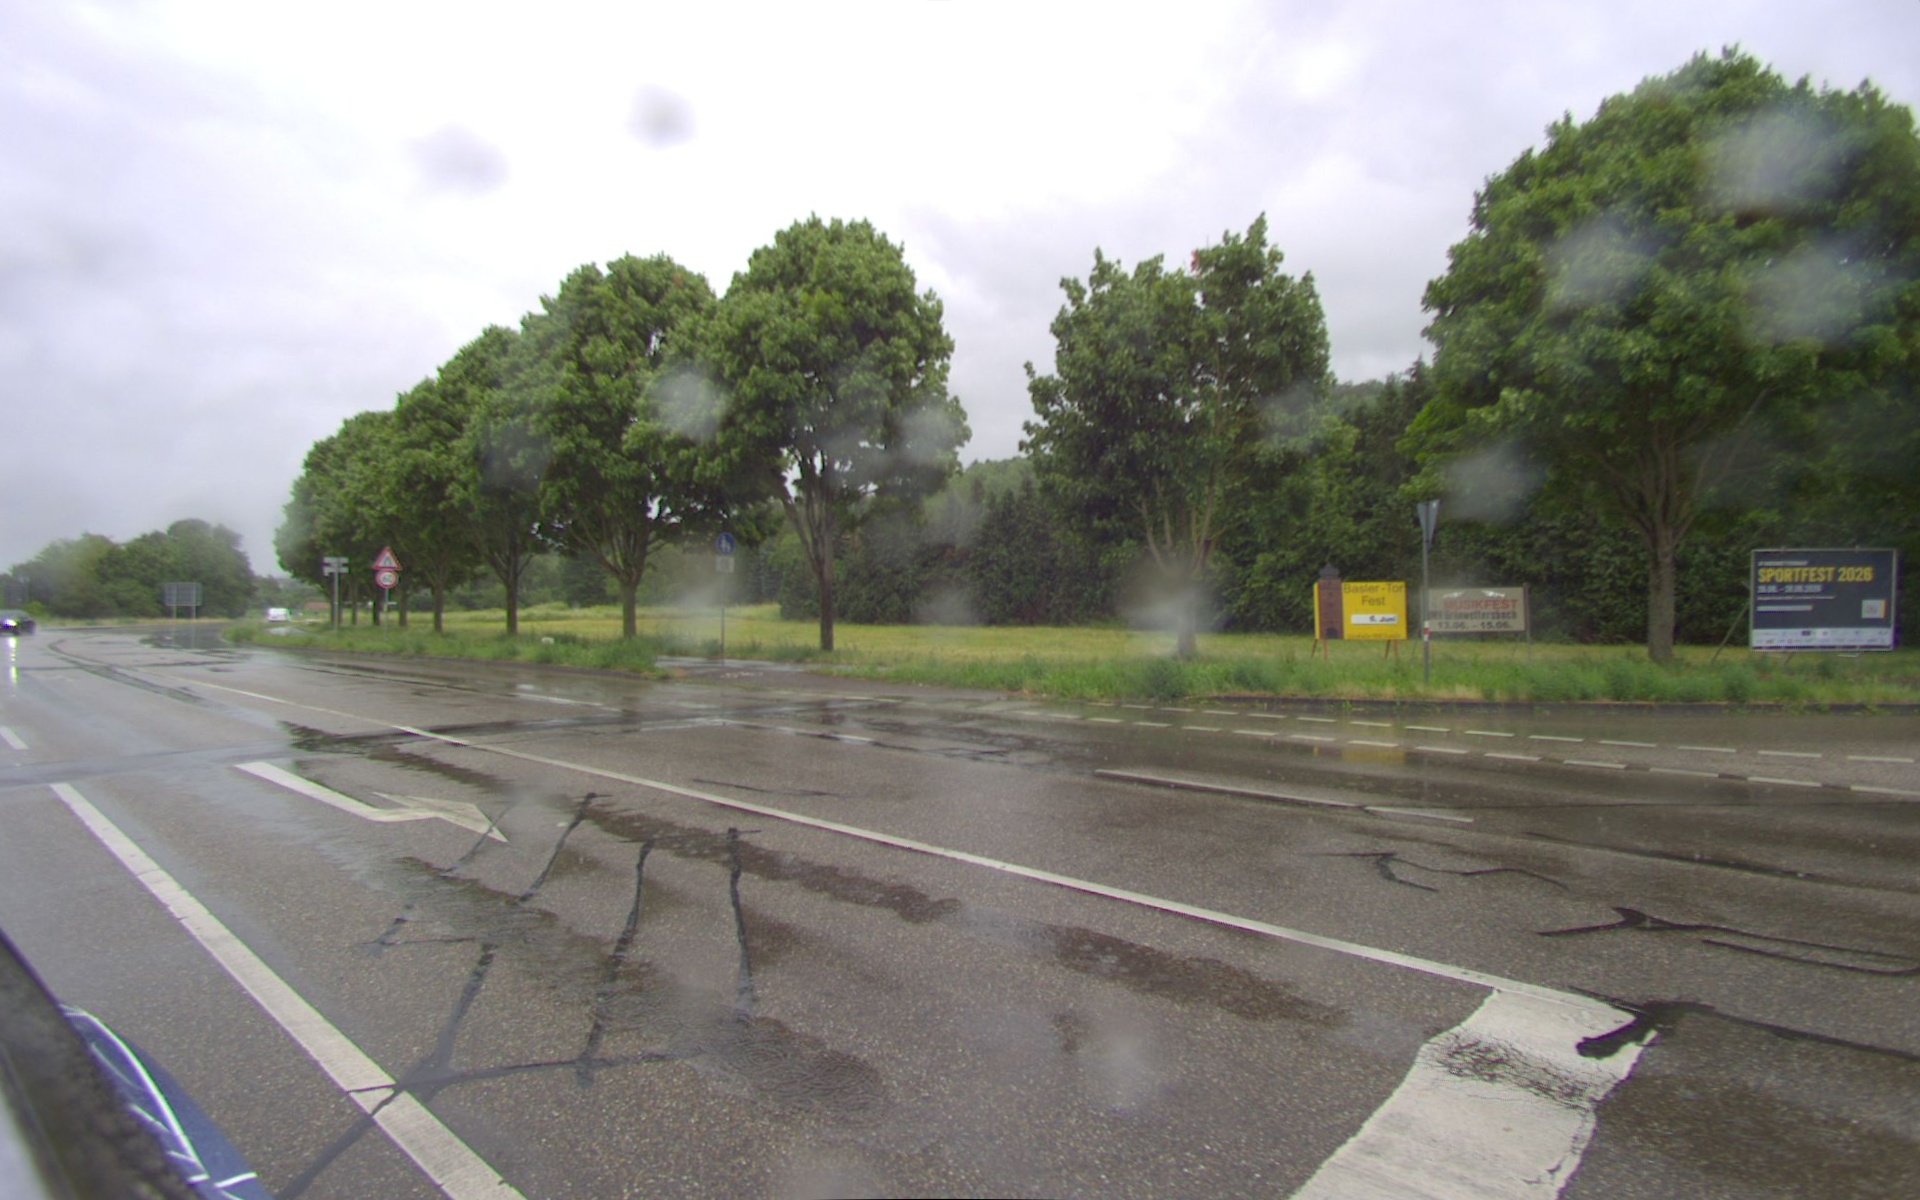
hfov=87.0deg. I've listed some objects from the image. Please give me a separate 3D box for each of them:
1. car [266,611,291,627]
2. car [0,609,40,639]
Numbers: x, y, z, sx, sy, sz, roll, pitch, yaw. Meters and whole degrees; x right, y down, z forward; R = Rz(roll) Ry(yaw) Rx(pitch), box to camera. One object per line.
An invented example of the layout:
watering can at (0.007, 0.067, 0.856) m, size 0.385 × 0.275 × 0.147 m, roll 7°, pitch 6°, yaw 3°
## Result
car at (-86.478, 2.379, 128.449) m, size 2.077 × 1.907 × 4.806 m, roll 0°, pitch 0°, yaw -26°
car at (-54.129, 1.335, 57.381) m, size 1.884 × 1.597 × 4.117 m, roll 0°, pitch 0°, yaw -26°
